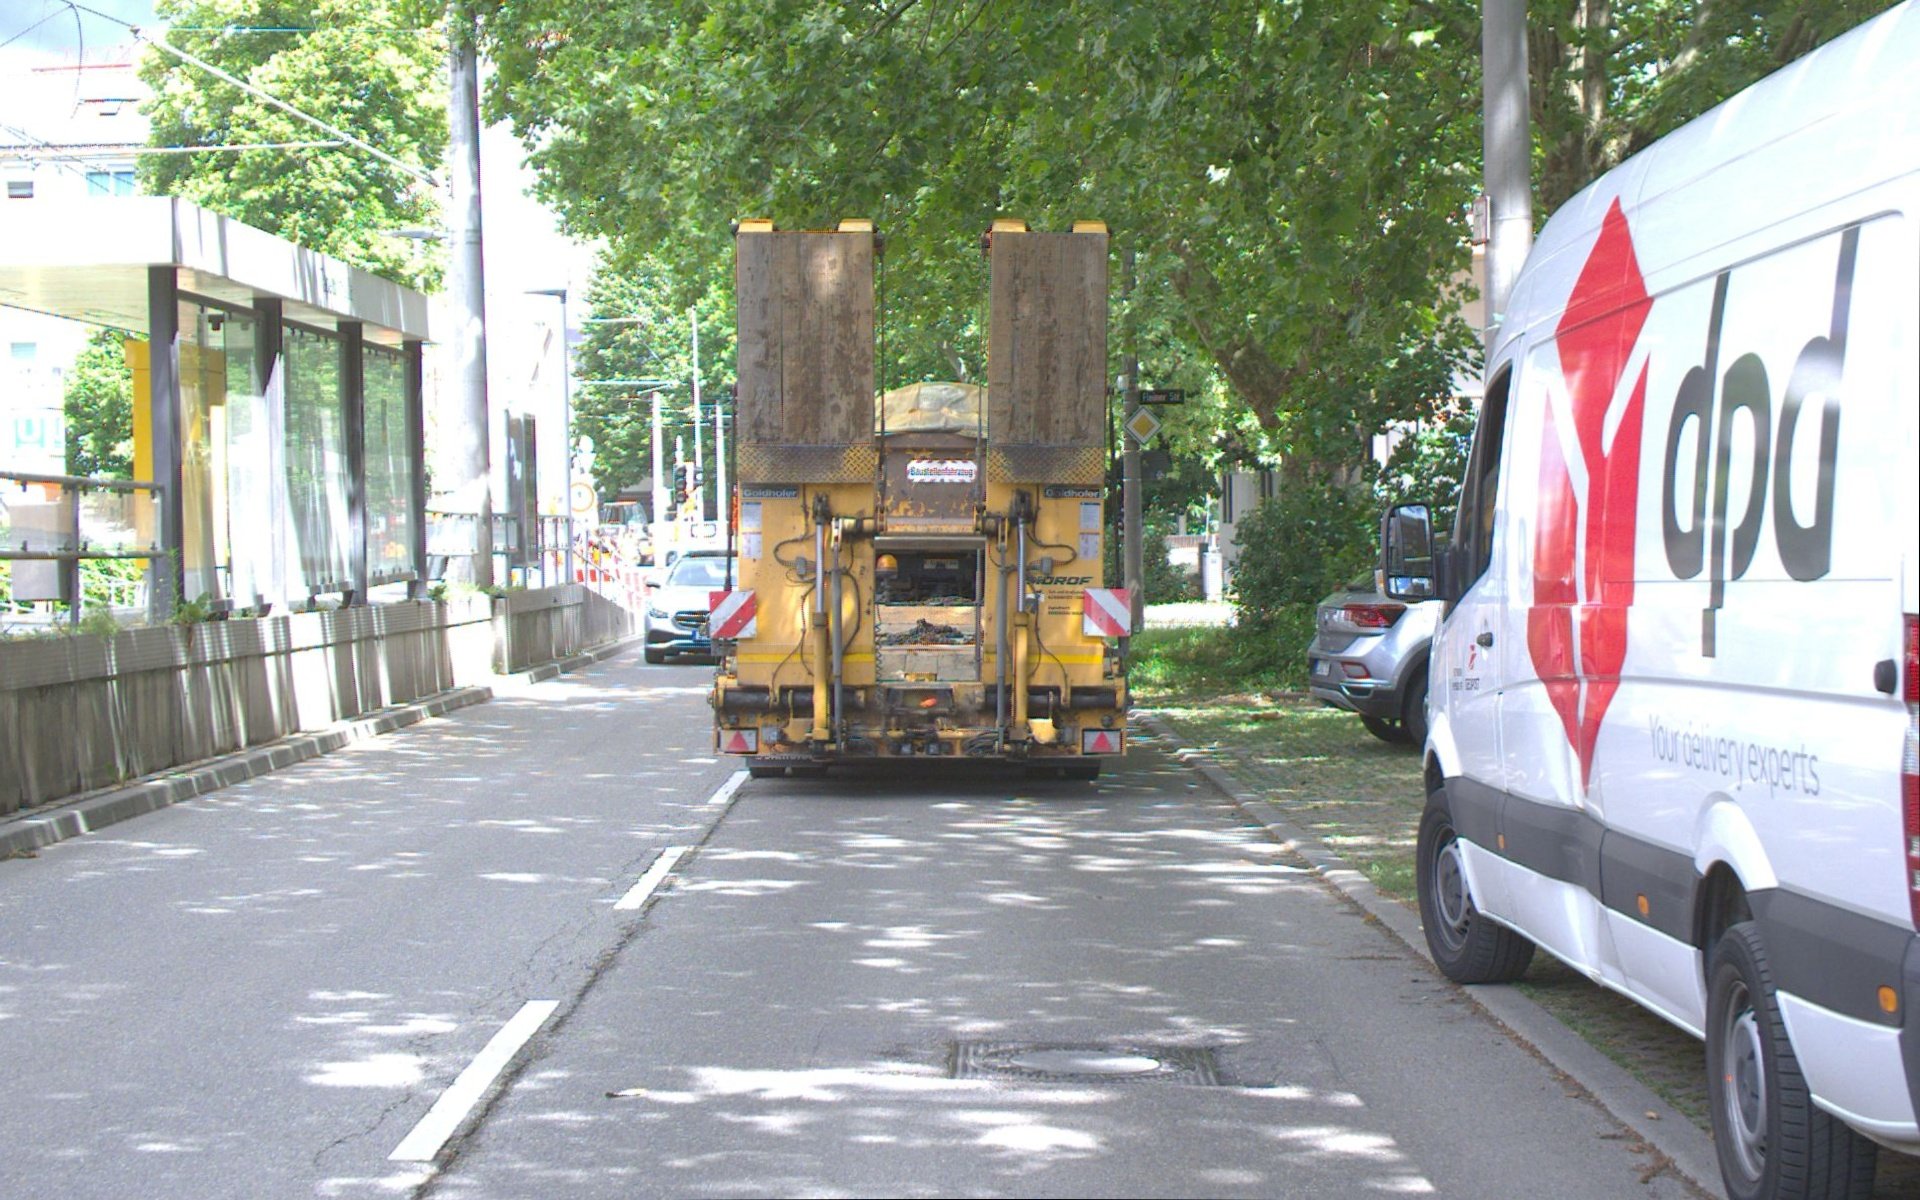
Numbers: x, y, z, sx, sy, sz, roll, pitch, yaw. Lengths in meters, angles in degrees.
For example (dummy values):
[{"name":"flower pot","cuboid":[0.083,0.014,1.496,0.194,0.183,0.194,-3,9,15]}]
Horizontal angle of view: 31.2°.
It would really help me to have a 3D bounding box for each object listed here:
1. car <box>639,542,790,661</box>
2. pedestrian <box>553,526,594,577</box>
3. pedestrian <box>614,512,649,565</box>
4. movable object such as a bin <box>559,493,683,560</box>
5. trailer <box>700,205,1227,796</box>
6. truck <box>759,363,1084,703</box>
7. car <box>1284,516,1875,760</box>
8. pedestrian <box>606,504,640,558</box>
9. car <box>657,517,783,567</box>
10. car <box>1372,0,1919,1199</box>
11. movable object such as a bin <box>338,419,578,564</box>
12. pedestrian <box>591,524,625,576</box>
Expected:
[{"name":"car","cuboid":[-3.250,-0.015,46.173,1.762,1.476,4.577,1,1,-1]},{"name":"pedestrian","cuboid":[-13.240,-1.666,117.777,1.108,1.709,0.888,-1,2,-44]},{"name":"pedestrian","cuboid":[-11.474,-2.145,120.073,0.887,1.861,0.836,1,1,29]},{"name":"movable object such as a bin","cuboid":[-13.390,-2.913,135.757,4.373,2.620,2.217,1,1,26]},{"name":"trailer","cuboid":[-0.186,-0.693,26.231,3.154,3.540,11.098,0,1,-2]},{"name":"truck","cuboid":[-0.483,-0.689,35.700,2.989,3.124,7.888,0,1,-2]},{"name":"car","cuboid":[4.406,0.247,24.724,3.828,1.557,1.620,-2,1,-7]},{"name":"pedestrian","cuboid":[-11.477,-2.351,117.223,0.885,1.861,0.837,0,1,-29]},{"name":"car","cuboid":[-10.321,-2.517,147.823,5.088,2.095,1.977,0,1,-14]},{"name":"car","cuboid":[2.553,0.030,9.313,1.904,2.572,6.834,-2,1,0]},{"name":"movable object such as a bin","cuboid":[-19.185,-4.122,131.155,9.215,5.396,2.660,1,1,26]},{"name":"pedestrian","cuboid":[-11.911,-1.706,116.350,0.886,1.754,0.836,1,1,17]}]
